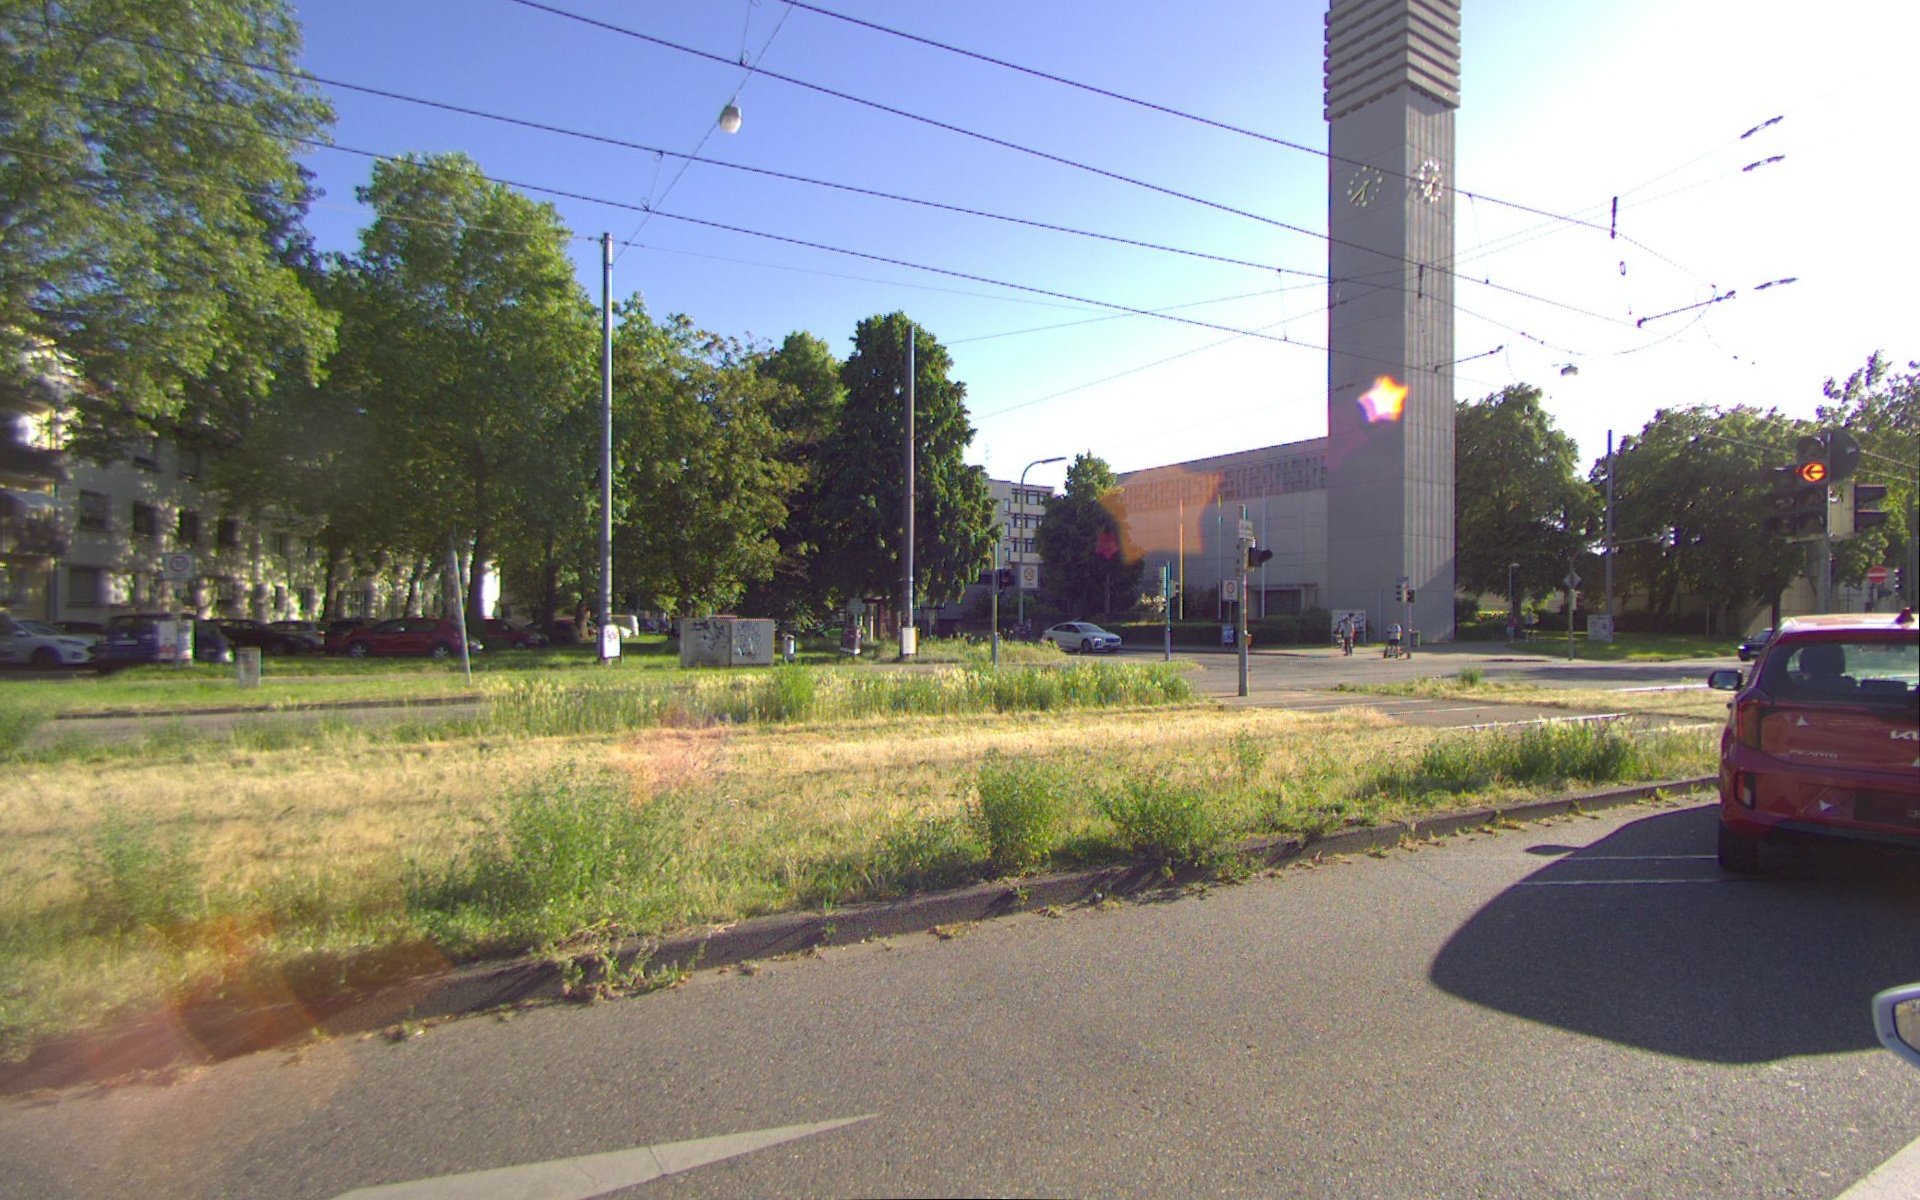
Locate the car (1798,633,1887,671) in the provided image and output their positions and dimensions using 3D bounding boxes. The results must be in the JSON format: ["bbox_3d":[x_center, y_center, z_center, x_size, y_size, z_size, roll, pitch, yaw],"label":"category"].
[{"bbox_3d":[38.466,2.220,43.768,4.310,1.553,1.679,1,-1,-30],"label":"car"}]

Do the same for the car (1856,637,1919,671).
[{"bbox_3d":[43.637,2.492,46.903,3.869,1.421,1.558,1,1,-30],"label":"car"}]

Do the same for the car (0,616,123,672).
[{"bbox_3d":[-29.525,1.383,31.903,3.989,1.686,1.997,1,-2,-10],"label":"car"}]

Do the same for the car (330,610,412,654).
[{"bbox_3d":[-24.473,1.304,41.892,1.719,1.706,3.992,0,-1,-11],"label":"car"}]

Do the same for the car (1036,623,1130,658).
[{"bbox_3d":[6.033,1.965,49.788,1.980,1.420,4.671,1,1,-35],"label":"car"}]

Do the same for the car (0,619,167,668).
[{"bbox_3d":[-30.132,1.520,34.607,3.929,1.590,1.879,1,-3,-10],"label":"car"}]

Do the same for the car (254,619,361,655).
[{"bbox_3d":[-32.816,1.871,50.639,3.989,1.686,1.997,1,-2,-10],"label":"car"}]

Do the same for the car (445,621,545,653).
[{"bbox_3d":[-21.330,1.696,46.243,3.932,1.400,1.581,0,-1,-14],"label":"car"}]

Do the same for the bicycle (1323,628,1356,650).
[{"bbox_3d":[19.395,1.990,51.364,1.659,1.060,0.490,1,1,-23],"label":"bicycle"}]

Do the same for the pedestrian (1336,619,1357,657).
[{"bbox_3d":[17.411,1.711,45.297,0.735,1.689,0.442,1,1,-21],"label":"pedestrian"}]

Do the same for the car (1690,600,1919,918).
[{"bbox_3d":[5.808,0.794,6.353,1.674,1.528,3.682,2,1,40],"label":"car"}]

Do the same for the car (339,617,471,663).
[{"bbox_3d":[-18.739,1.339,34.060,3.585,1.399,1.641,1,1,-13],"label":"car"}]

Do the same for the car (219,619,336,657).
[{"bbox_3d":[-32.088,1.796,47.343,3.989,1.686,1.997,1,-2,-10],"label":"car"}]

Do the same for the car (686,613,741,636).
[{"bbox_3d":[-19.783,1.995,80.597,3.953,1.795,1.659,1,-1,-30],"label":"car"}]

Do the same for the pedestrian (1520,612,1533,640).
[{"bbox_3d":[31.861,1.475,56.500,0.483,1.527,0.433,1,2,-34],"label":"pedestrian"}]

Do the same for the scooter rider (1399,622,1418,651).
[{"bbox_3d":[19.421,1.586,43.497,0.520,1.234,0.584,3,2,45],"label":"scooter rider"}]

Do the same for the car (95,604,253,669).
[{"bbox_3d":[-20.956,0.939,26.989,1.719,1.622,3.992,0,-1,-11],"label":"car"}]

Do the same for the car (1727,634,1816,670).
[{"bbox_3d":[37.164,2.338,45.996,4.310,1.553,1.798,1,-1,-30],"label":"car"}]

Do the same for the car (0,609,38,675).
[{"bbox_3d":[-29.537,1.179,28.855,3.929,1.867,1.997,1,-3,-10],"label":"car"}]

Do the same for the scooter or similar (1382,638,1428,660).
[{"bbox_3d":[19.311,2.104,43.609,0.560,0.911,1.717,1,-1,-45],"label":"scooter or similar"}]

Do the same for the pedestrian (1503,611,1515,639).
[{"bbox_3d":[31.289,1.438,57.239,0.302,1.581,0.433,1,2,-34],"label":"pedestrian"}]

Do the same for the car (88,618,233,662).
[{"bbox_3d":[-31.223,1.591,39.359,3.929,1.635,1.879,1,-3,-10],"label":"car"}]
